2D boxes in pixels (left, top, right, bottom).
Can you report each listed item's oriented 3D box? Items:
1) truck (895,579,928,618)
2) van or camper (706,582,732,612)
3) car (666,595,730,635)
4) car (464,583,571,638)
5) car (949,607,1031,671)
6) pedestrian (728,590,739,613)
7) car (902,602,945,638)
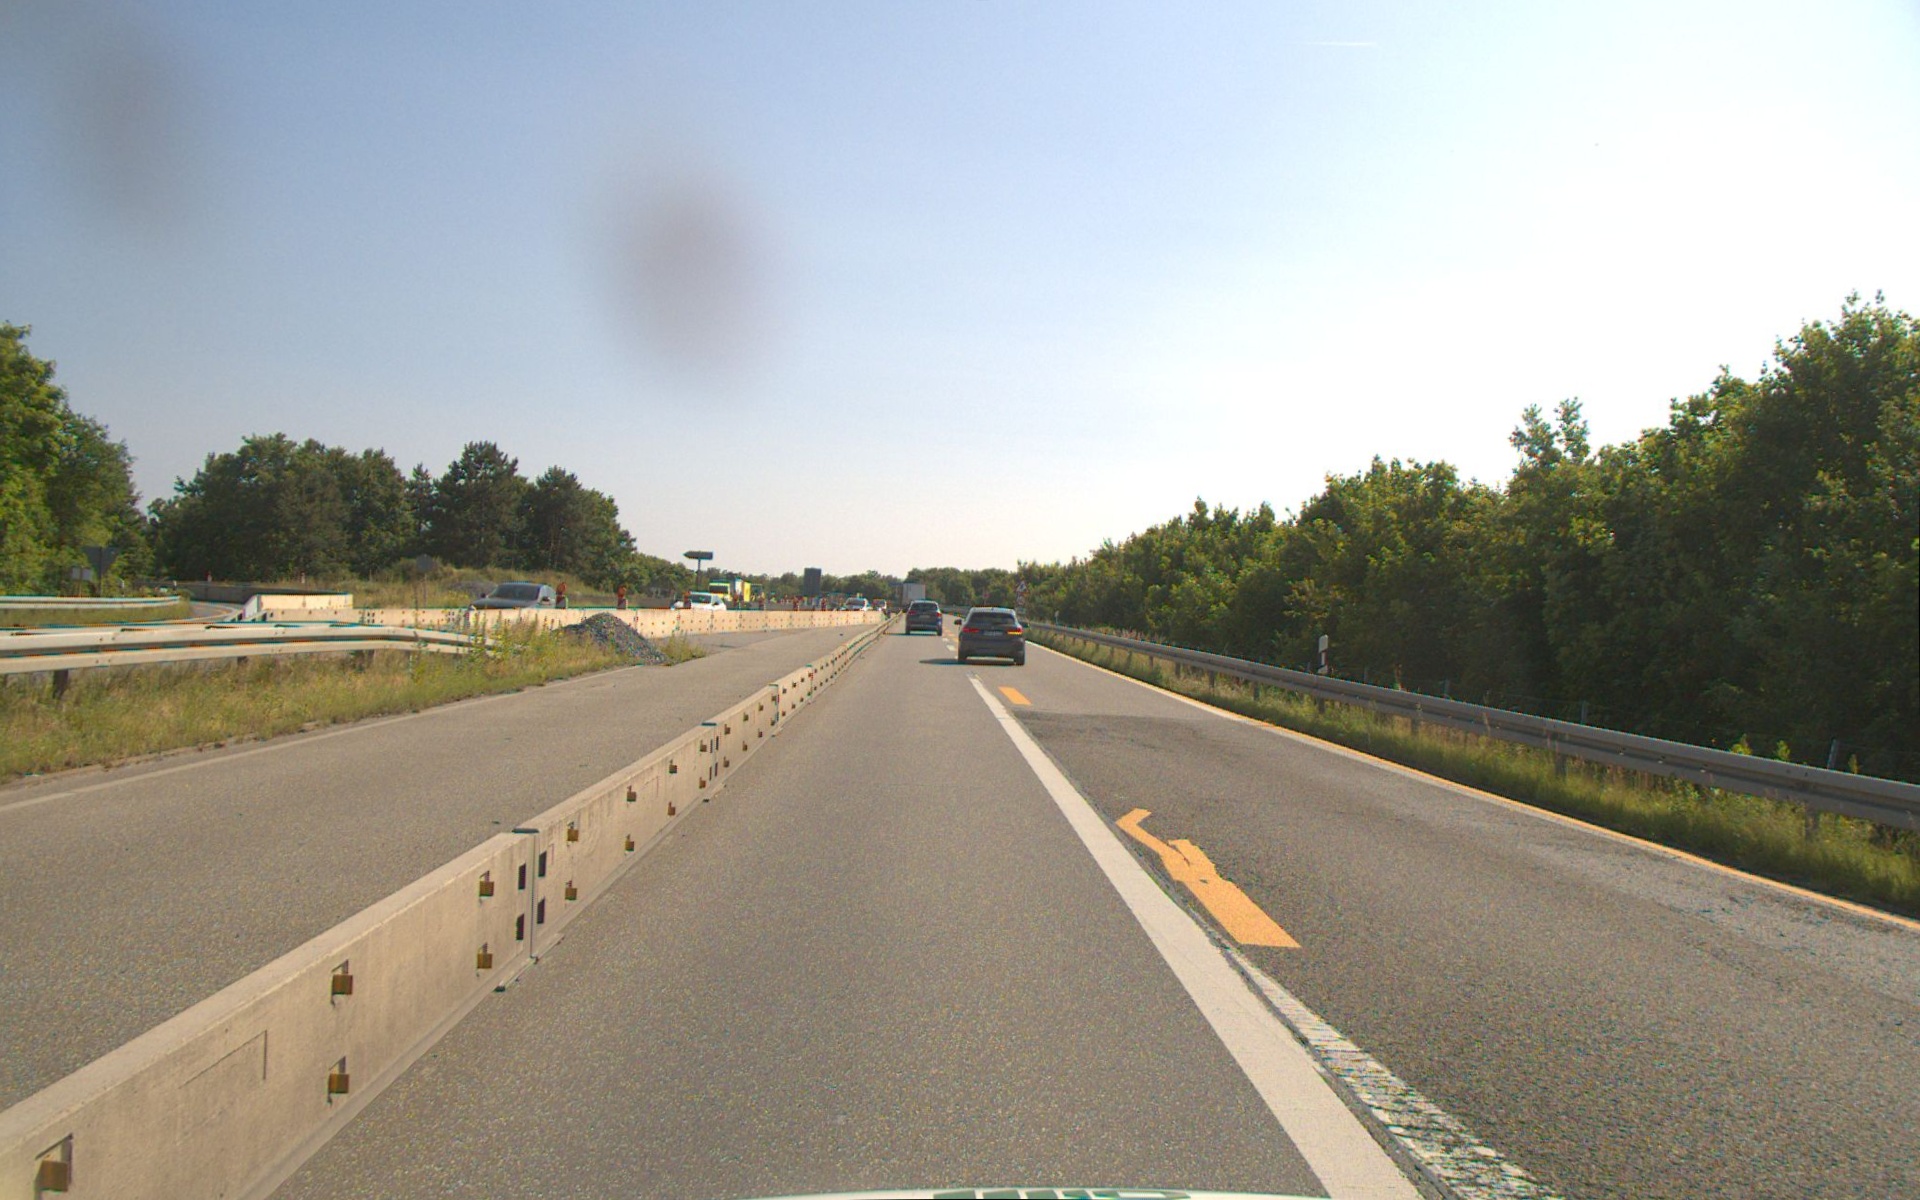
[{"bbox_3d":[-6.854,-0.222,230.425,3.687,4.997,14.123,3,0,-4],"label":"truck"},{"bbox_3d":[-20.917,-0.247,143.715,1.956,2.419,6.191,3,0,-7],"label":"van or camper"},{"bbox_3d":[-11.665,0.661,73.820,1.779,1.636,4.441,2,0,4],"label":"car"},{"bbox_3d":[-12.742,0.310,47.878,1.802,1.466,4.812,2,0,-1],"label":"car"},{"bbox_3d":[0.754,1.000,44.116,1.882,1.520,3.998,3,0,-3],"label":"car"},{"bbox_3d":[-19.268,0.123,140.800,0.728,1.852,0.794,3,-1,-13],"label":"pedestrian"},{"bbox_3d":[-1.719,0.922,78.933,1.953,1.594,3.999,2,0,-1],"label":"car"}]
